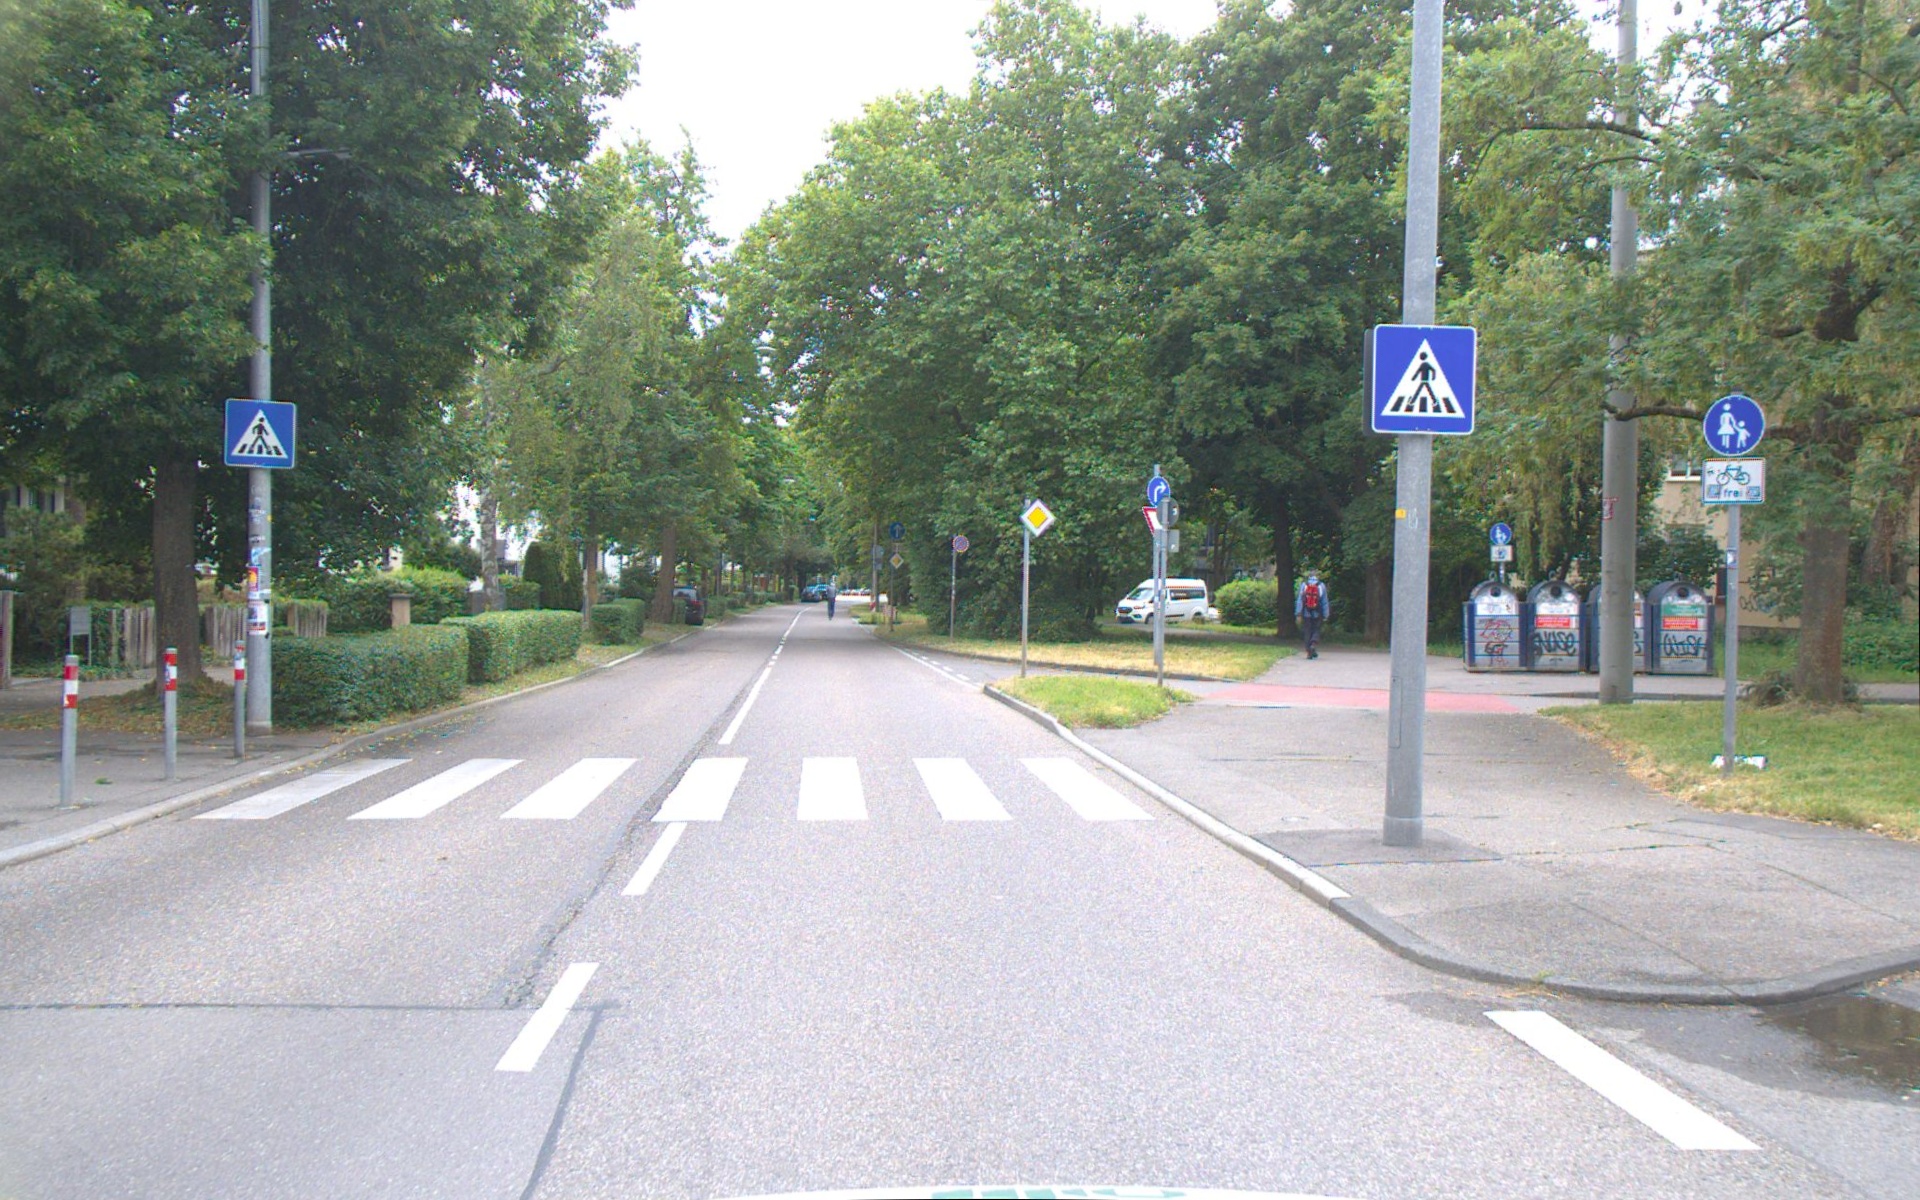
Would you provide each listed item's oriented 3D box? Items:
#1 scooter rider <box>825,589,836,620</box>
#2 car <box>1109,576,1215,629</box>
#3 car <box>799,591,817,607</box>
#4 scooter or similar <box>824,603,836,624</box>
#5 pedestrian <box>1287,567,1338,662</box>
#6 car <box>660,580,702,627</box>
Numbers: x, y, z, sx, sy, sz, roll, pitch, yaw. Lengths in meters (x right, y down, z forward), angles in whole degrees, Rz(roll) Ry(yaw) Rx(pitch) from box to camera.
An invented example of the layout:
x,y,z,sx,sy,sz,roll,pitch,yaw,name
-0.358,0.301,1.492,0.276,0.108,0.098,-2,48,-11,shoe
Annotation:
x,y,z,sx,sy,sz,roll,pitch,yaw,name
-6.804,0.229,86.817,0.588,1.579,0.566,0,2,-3,scooter rider
10.147,0.136,82.848,5.335,2.336,2.107,2,2,-40,car
-16.347,-0.119,177.800,1.799,1.524,3.652,4,2,-6,car
-6.797,0.683,86.674,0.588,1.073,0.872,0,2,-3,scooter or similar
7.487,0.294,35.176,0.904,1.904,1.020,-2,3,7,pedestrian
-11.776,0.110,69.937,1.612,1.754,3.793,3,1,-9,car
